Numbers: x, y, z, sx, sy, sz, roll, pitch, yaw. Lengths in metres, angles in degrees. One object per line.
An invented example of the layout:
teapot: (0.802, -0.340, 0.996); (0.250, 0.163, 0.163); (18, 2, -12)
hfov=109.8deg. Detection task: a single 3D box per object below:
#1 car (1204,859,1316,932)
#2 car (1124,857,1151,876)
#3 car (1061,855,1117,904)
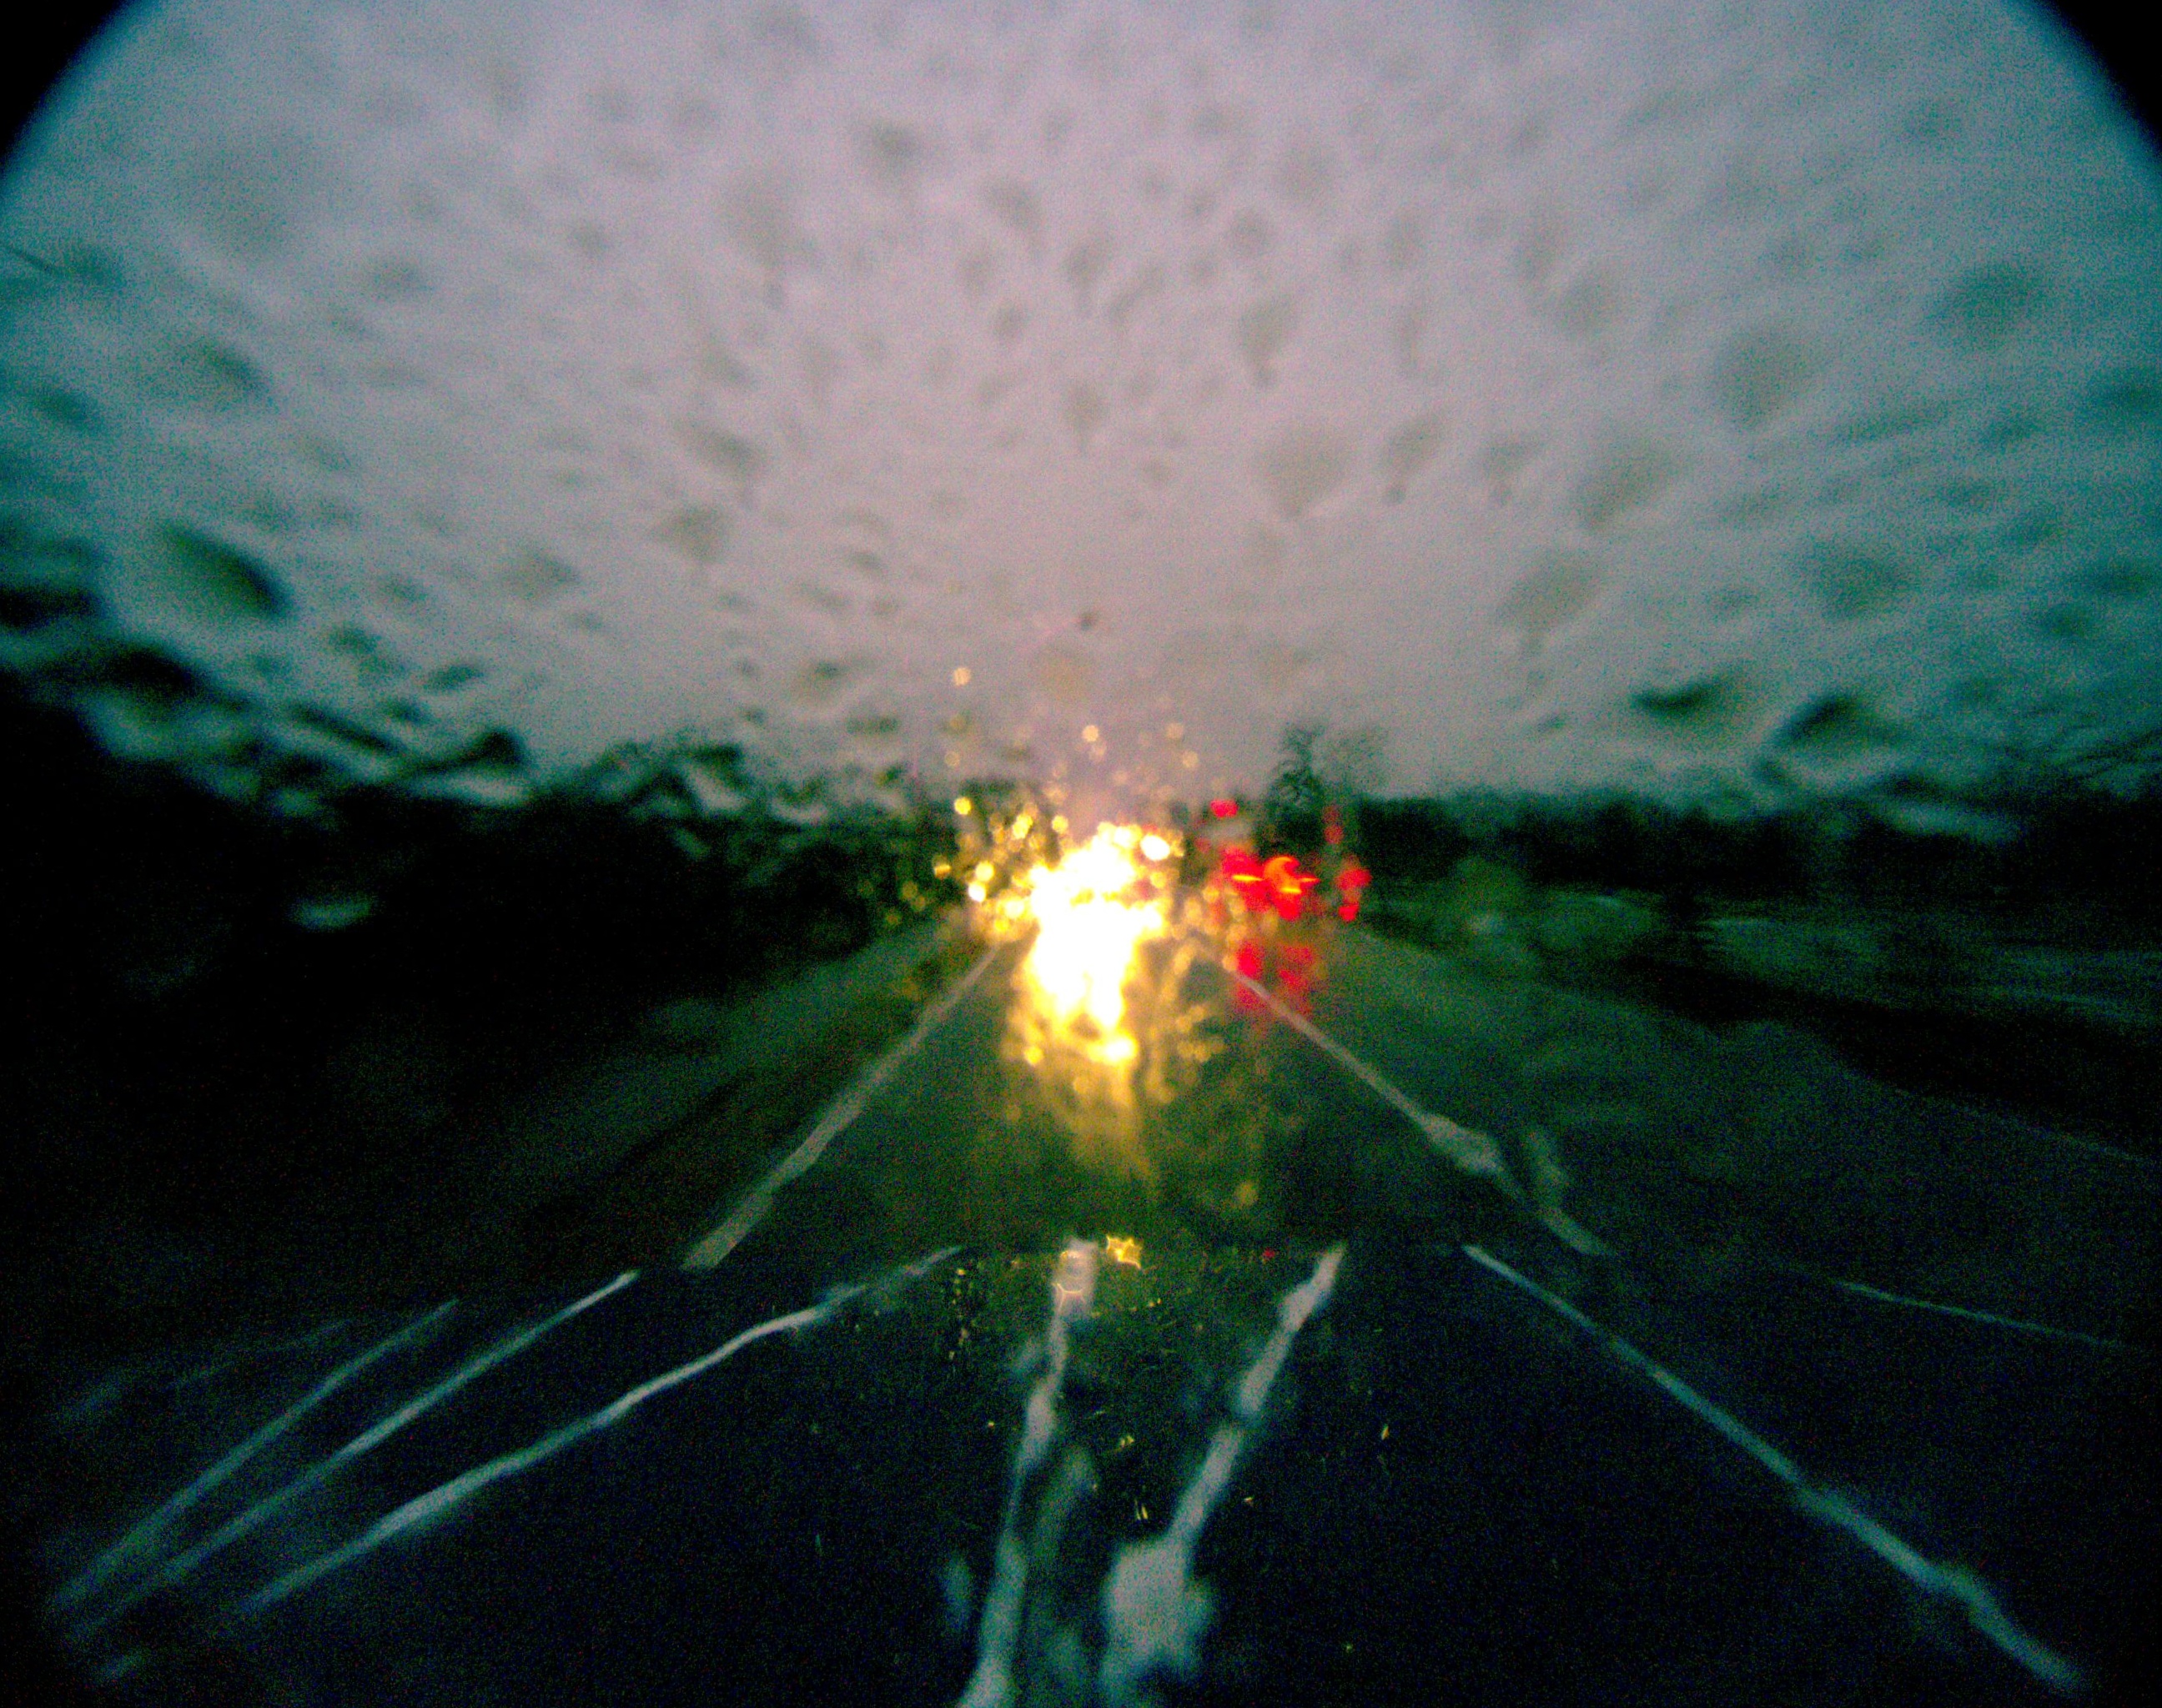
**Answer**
car: (4.149, 0.900, 18.234); (1.766, 1.546, 4.000); (0, 0, 1)
car: (4.822, 1.033, 65.355); (1.860, 1.508, 4.515); (1, 0, -2)
car: (0.309, 0.870, 27.727); (1.860, 1.604, 4.000); (-1, 0, 1)
